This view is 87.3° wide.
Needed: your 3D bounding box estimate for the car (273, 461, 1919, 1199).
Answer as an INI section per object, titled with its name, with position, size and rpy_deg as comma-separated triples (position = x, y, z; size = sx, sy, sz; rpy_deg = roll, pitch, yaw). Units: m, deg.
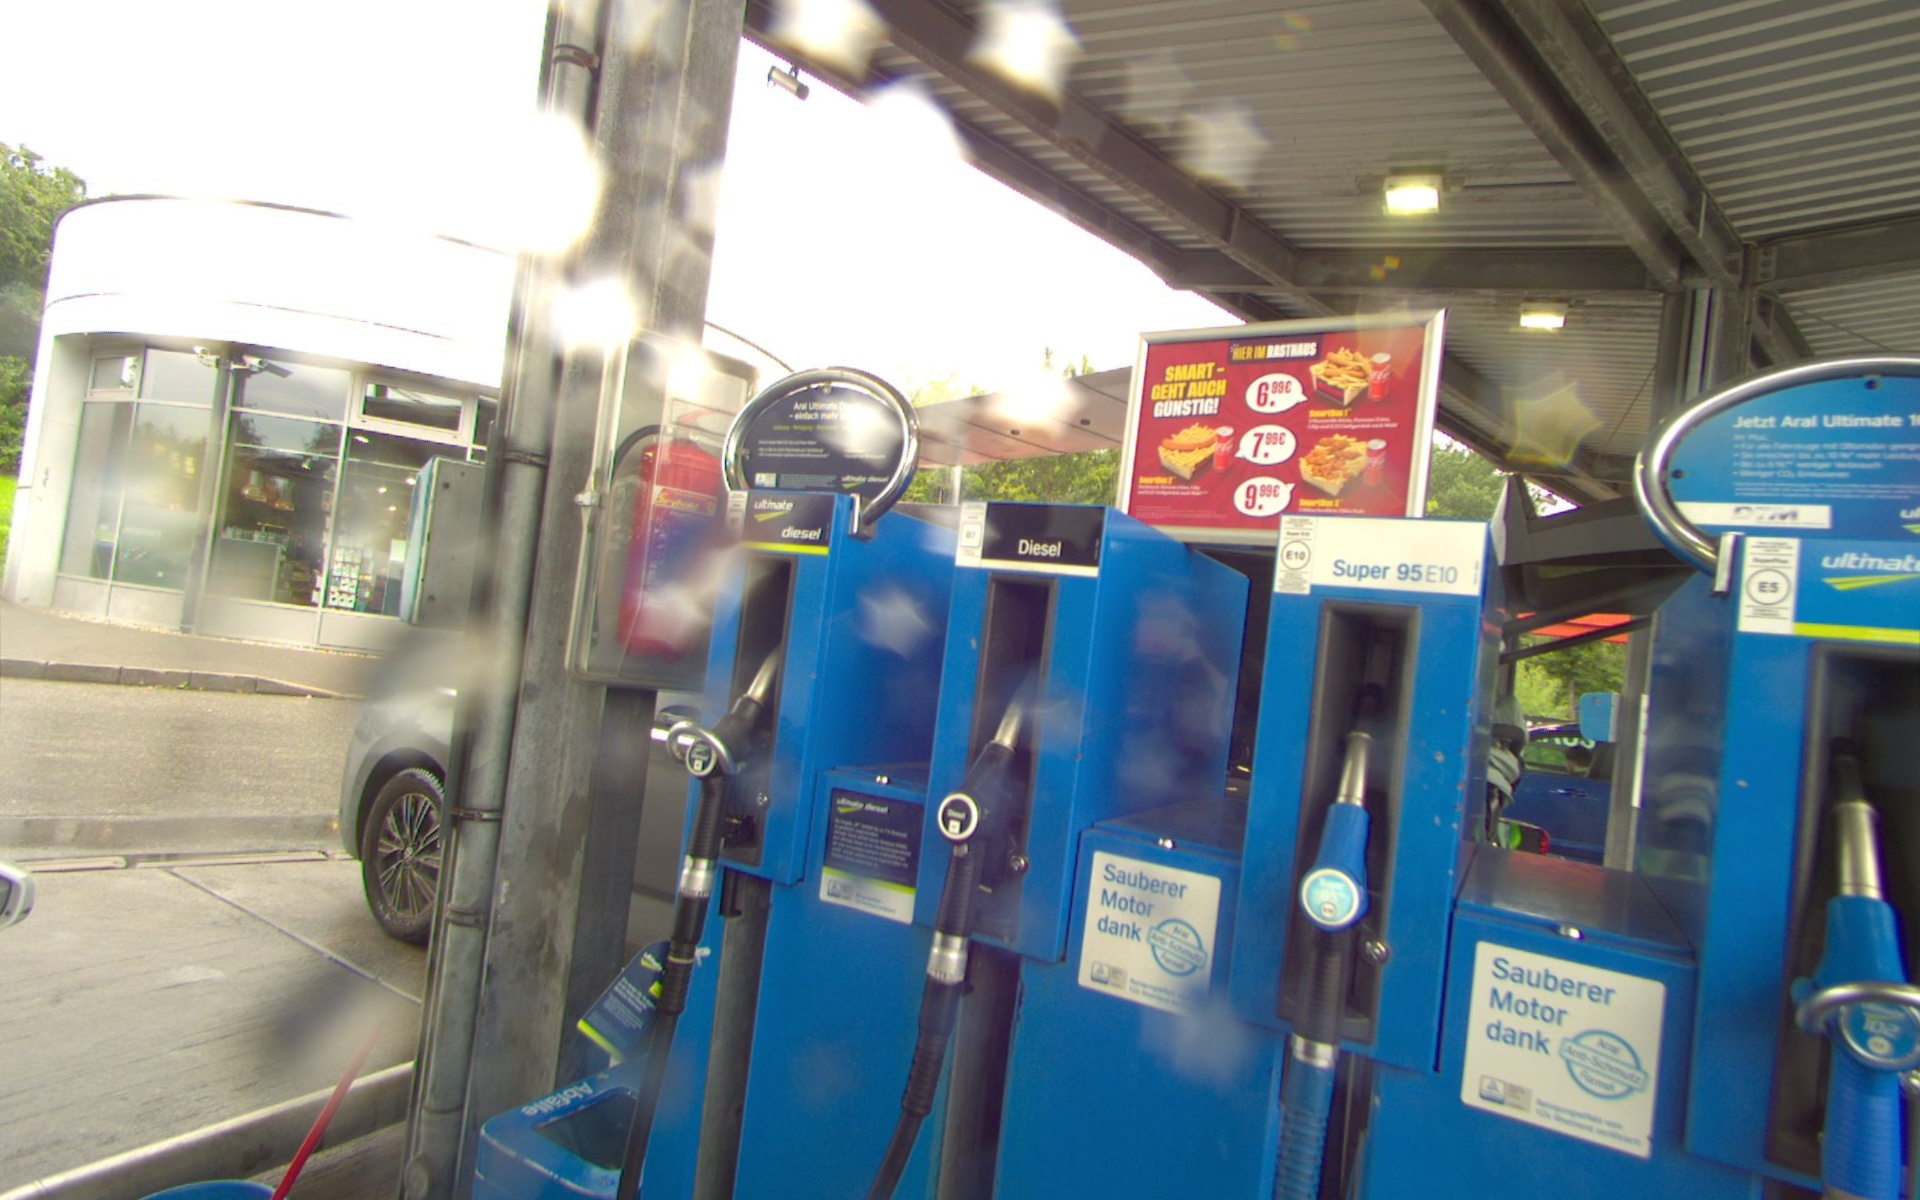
[car]
position = -0.146, 0.646, 3.671
size = 5.055, 1.819, 1.865
rpy_deg = 6, -2, 32
